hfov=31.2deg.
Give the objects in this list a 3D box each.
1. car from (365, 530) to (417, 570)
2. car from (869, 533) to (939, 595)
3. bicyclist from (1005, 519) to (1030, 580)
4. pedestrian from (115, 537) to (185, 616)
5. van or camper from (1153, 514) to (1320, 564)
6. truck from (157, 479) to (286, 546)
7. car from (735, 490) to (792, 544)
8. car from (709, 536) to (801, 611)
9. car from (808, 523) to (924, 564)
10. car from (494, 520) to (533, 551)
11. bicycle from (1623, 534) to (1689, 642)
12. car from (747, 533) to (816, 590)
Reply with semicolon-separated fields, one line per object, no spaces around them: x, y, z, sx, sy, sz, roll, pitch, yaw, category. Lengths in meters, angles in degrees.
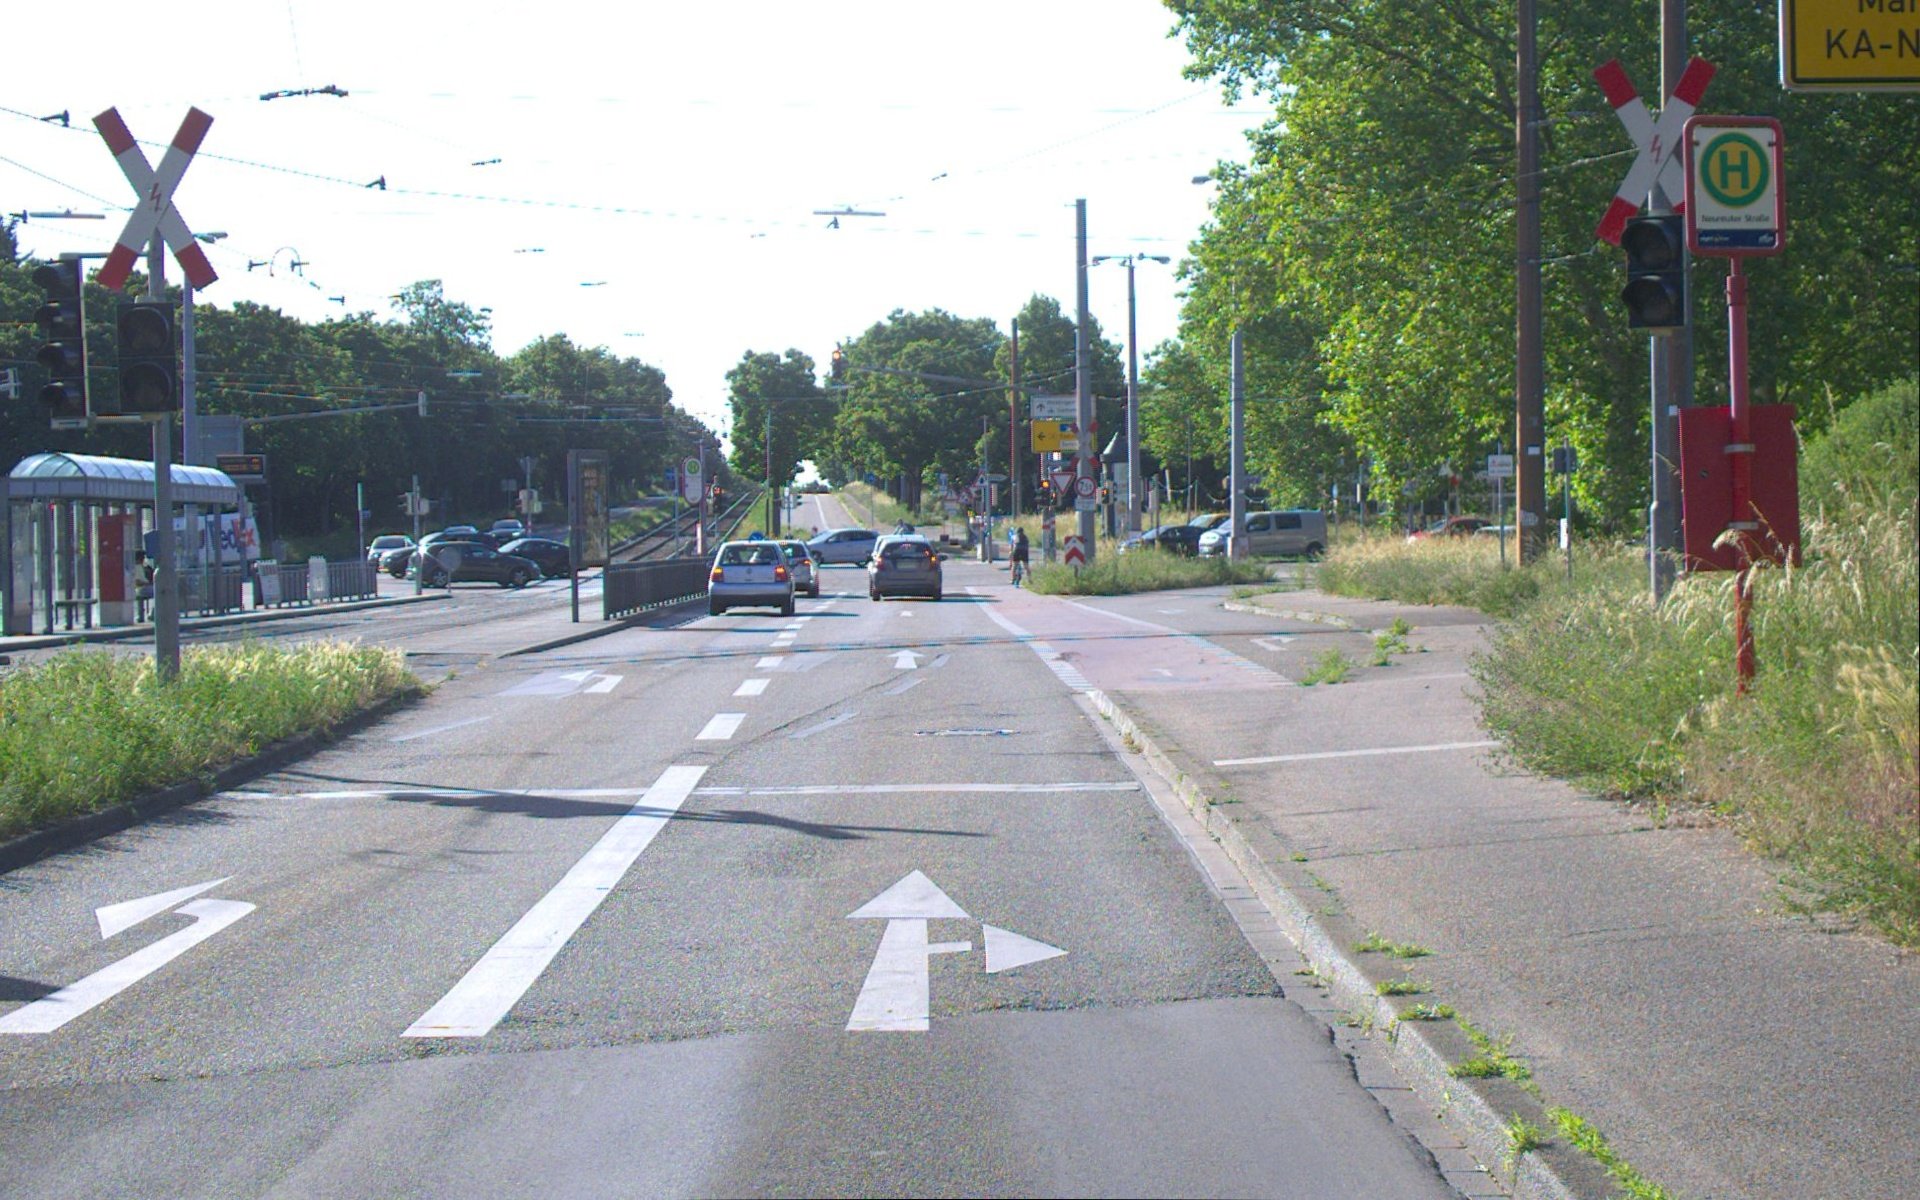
-22.571;-1.997;136.443;1.832;1.543;4.001;-1;1;-7;car
-1.360;-0.902;83.502;1.668;1.457;3.586;-1;1;-1;car
1.628;-1.423;97.374;0.666;1.710;0.948;1;0;-1;bicyclist
-15.241;-0.449;64.699;1.060;1.448;1.007;-1;1;-1;pedestrian
10.295;-2.280;128.186;5.967;1.822;2.000;-1;1;-4;van or camper
-29.160;-3.444;135.959;1.995;2.556;6.818;-1;1;16;truck
-7.642;-3.209;133.965;1.993;2.007;4.492;1;1;0;car
-4.012;-0.524;67.554;1.619;1.413;3.351;-1;1;-1;car
-3.518;-2.126;129.135;3.986;1.468;1.752;0;1;-22;car
-23.727;-3.417;182.455;1.993;1.599;4.756;0;1;-8;car
7.551;-0.144;37.272;0.365;1.131;2.094;-1;1;20;bicycle
-4.592;-0.997;88.913;1.619;1.452;4.085;0;1;-1;car
